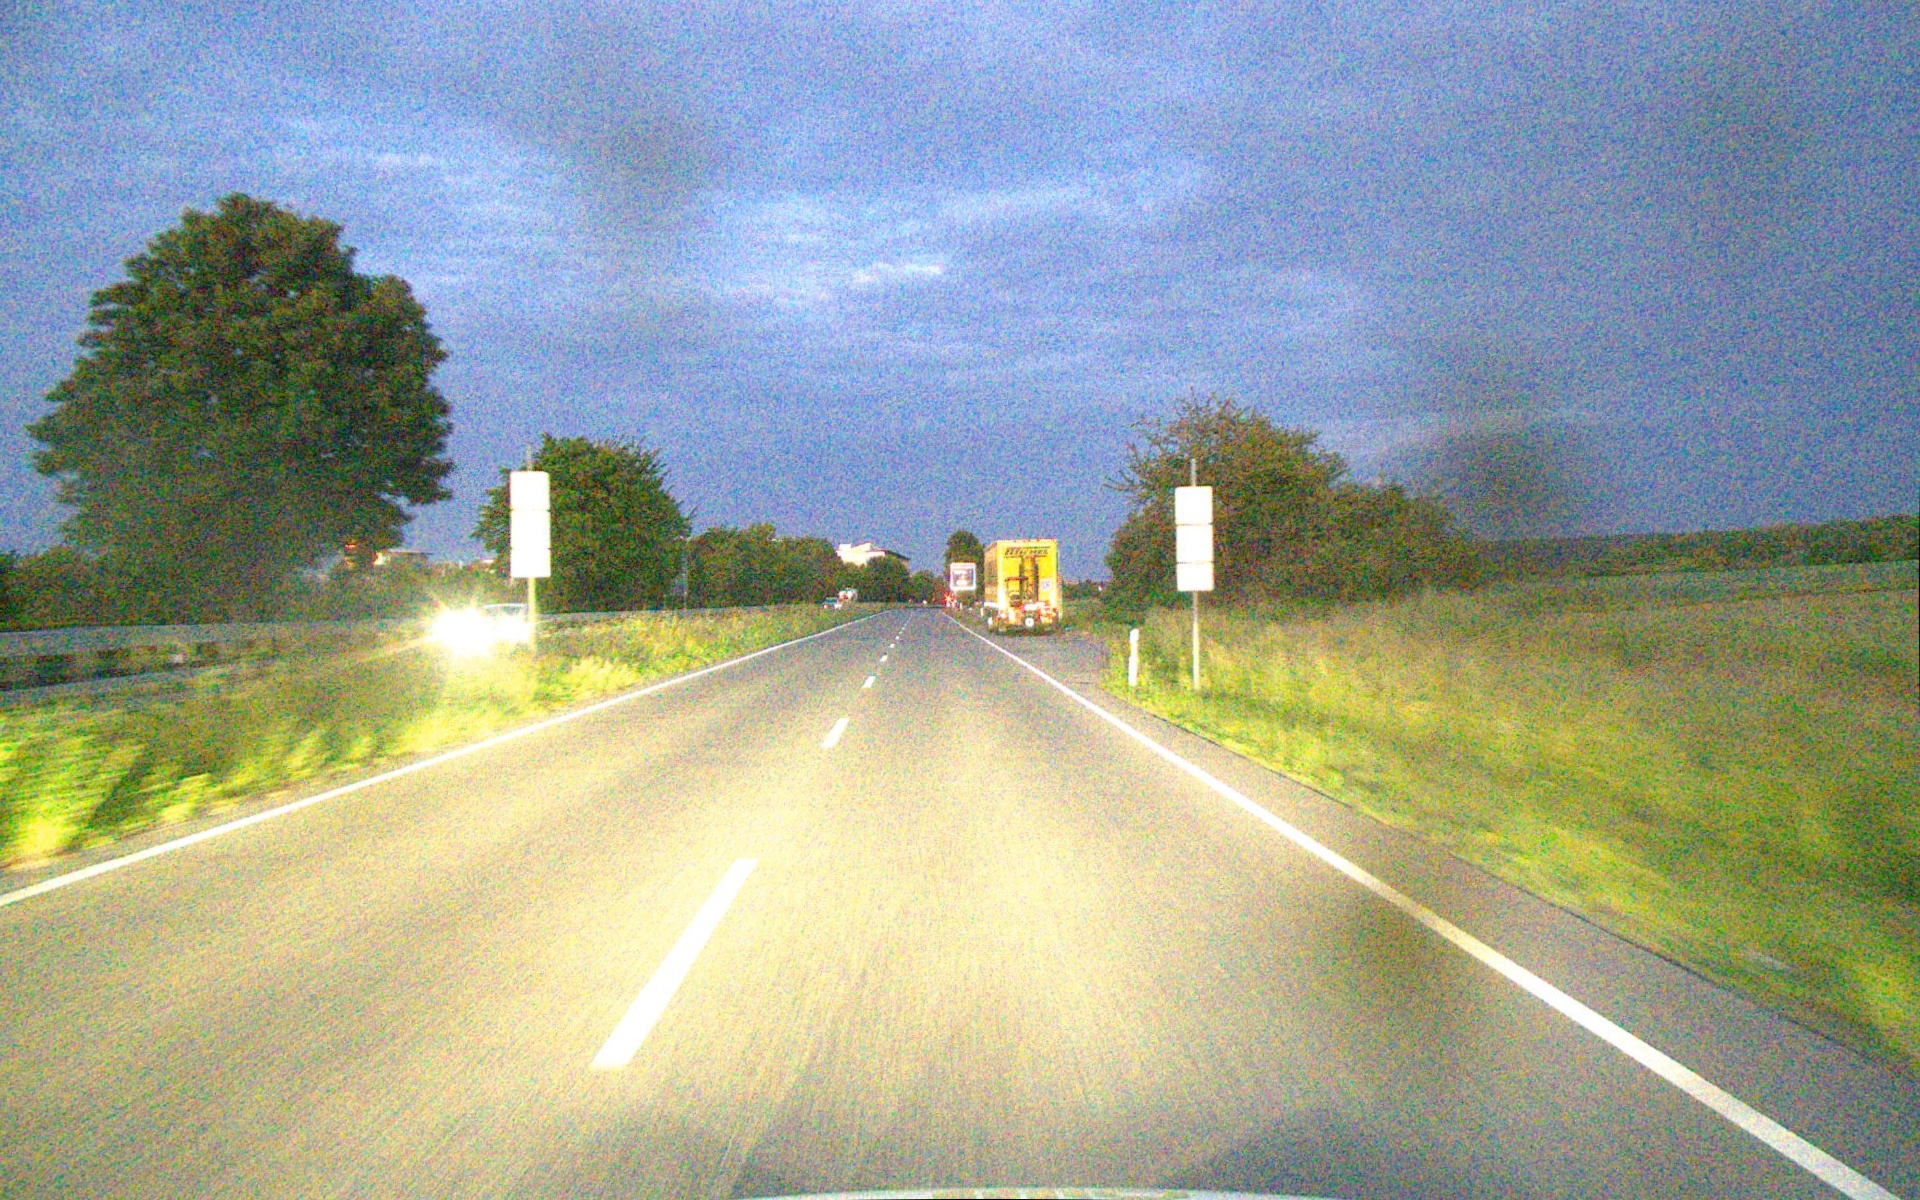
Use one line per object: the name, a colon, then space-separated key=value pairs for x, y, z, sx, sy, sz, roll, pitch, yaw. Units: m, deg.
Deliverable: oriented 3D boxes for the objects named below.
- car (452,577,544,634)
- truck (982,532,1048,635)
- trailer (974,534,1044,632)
car: x=-13.213 y=0.158 z=47.522 sx=1.621 sy=1.531 sz=3.998 roll=1 pitch=0 yaw=-2
truck: x=2.301 y=-0.697 z=70.660 sx=2.527 sy=4.142 sz=6.129 roll=1 pitch=0 yaw=0
trailer: x=2.151 y=-0.734 z=77.173 sx=2.569 sy=4.176 sz=12.933 roll=-1 pitch=0 yaw=-1
